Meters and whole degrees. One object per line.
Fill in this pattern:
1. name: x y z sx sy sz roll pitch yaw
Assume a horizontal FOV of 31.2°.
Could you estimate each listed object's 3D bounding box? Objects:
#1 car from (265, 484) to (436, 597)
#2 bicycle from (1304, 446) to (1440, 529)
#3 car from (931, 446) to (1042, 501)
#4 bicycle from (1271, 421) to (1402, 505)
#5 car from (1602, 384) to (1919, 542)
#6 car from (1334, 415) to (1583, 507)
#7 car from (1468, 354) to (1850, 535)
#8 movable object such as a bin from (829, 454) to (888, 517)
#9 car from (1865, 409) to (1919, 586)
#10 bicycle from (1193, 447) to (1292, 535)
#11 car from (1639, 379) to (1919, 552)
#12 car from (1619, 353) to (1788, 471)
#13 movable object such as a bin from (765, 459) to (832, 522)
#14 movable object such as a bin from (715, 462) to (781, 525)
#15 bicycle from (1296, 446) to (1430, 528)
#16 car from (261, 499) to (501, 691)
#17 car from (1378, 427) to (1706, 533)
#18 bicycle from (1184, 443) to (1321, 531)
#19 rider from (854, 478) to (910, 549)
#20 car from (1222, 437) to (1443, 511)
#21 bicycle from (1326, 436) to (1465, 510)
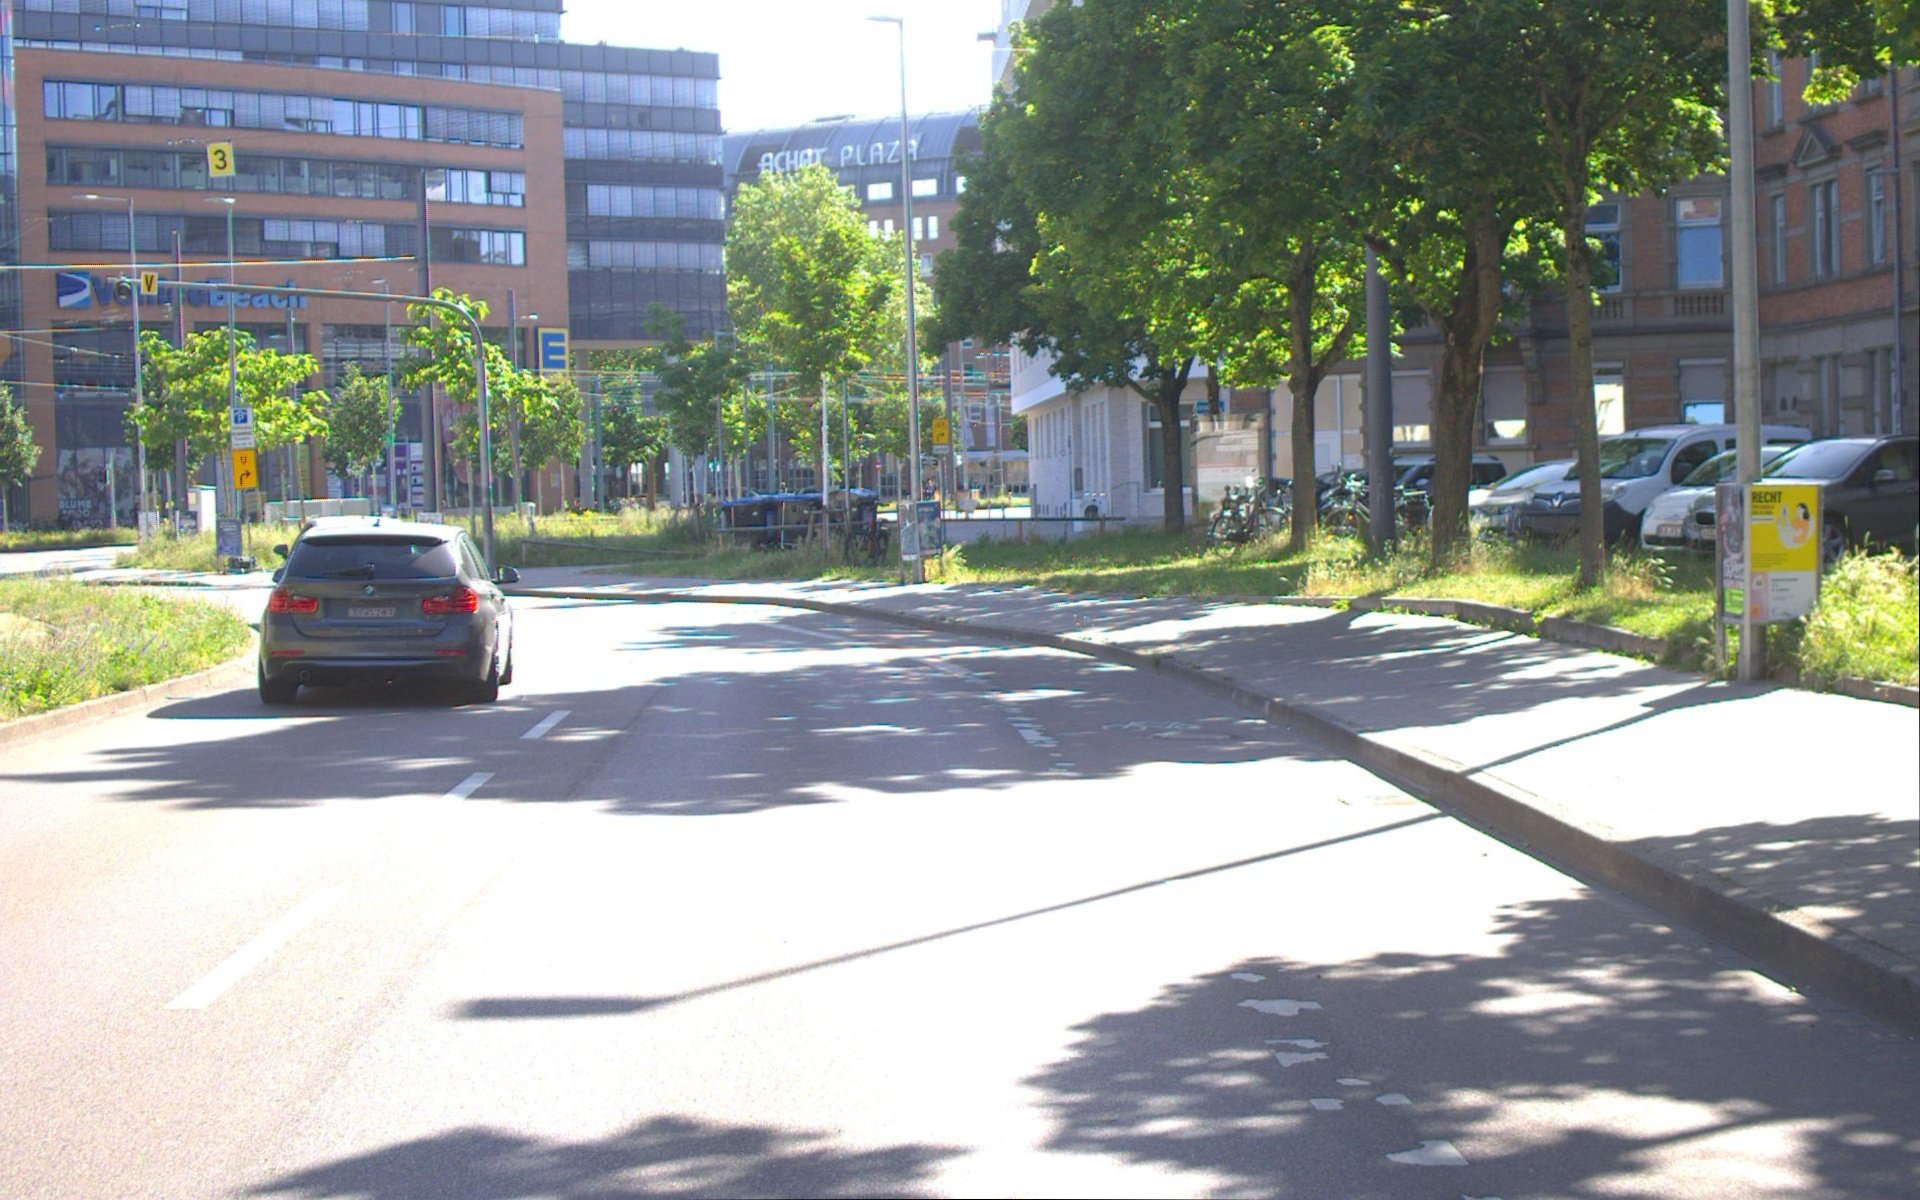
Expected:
1. car: -8.087 -0.778 45.374 1.631 1.418 3.783 0 1 -19
2. bicycle: 6.528 -1.786 54.524 1.944 1.176 0.900 -4 2 -3
3. car: 1.076 -5.032 136.729 3.989 2.006 1.999 -2 2 14
4. bicycle: 6.598 -2.404 60.290 2.092 1.393 0.787 -3 2 -13
5. car: 10.533 -1.745 42.495 4.865 1.642 2.101 -6 3 -31
6. car: 9.441 -2.641 65.047 4.457 1.560 1.938 -4 3 -33
7. car: 9.262 -2.069 45.410 4.866 2.006 2.100 -6 3 -36
8. movable object such as a bin: -2.363 -2.683 80.367 1.029 1.393 1.090 -1 3 18
9. car: 9.925 -1.035 29.768 4.019 1.473 1.813 -6 3 -35
10. bicycle: 4.493 -1.732 54.592 0.769 1.285 1.594 -1 4 38
11. car: 10.187 -1.592 39.276 4.499 1.721 2.000 -6 3 -31
12. car: 16.273 -4.136 75.508 2.349 2.349 5.189 -4 3 -1
13. movable object such as a bin: -3.766 -2.563 80.350 1.108 1.393 1.320 -1 3 18
14. movable object such as a bin: -4.949 -2.488 80.254 1.069 1.393 1.303 -1 3 18
15. bicycle: 6.494 -1.827 55.448 1.957 1.187 0.842 -4 3 -2
16. car: -4.586 -0.069 27.724 1.733 1.418 4.469 0 1 -7
17. car: 8.707 -1.804 51.250 4.738 1.375 2.046 -4 3 -36
18. bicycle: 4.849 -1.877 57.052 2.093 1.360 0.787 -2 2 -7
19. rider: -1.395 -1.553 61.517 0.502 1.172 1.675 -2 4 15
20. car: 7.528 -2.547 69.436 4.043 1.332 1.840 -3 3 -25
21. bicycle: 7.334 -2.148 57.990 2.162 1.154 0.823 -2 2 -6
